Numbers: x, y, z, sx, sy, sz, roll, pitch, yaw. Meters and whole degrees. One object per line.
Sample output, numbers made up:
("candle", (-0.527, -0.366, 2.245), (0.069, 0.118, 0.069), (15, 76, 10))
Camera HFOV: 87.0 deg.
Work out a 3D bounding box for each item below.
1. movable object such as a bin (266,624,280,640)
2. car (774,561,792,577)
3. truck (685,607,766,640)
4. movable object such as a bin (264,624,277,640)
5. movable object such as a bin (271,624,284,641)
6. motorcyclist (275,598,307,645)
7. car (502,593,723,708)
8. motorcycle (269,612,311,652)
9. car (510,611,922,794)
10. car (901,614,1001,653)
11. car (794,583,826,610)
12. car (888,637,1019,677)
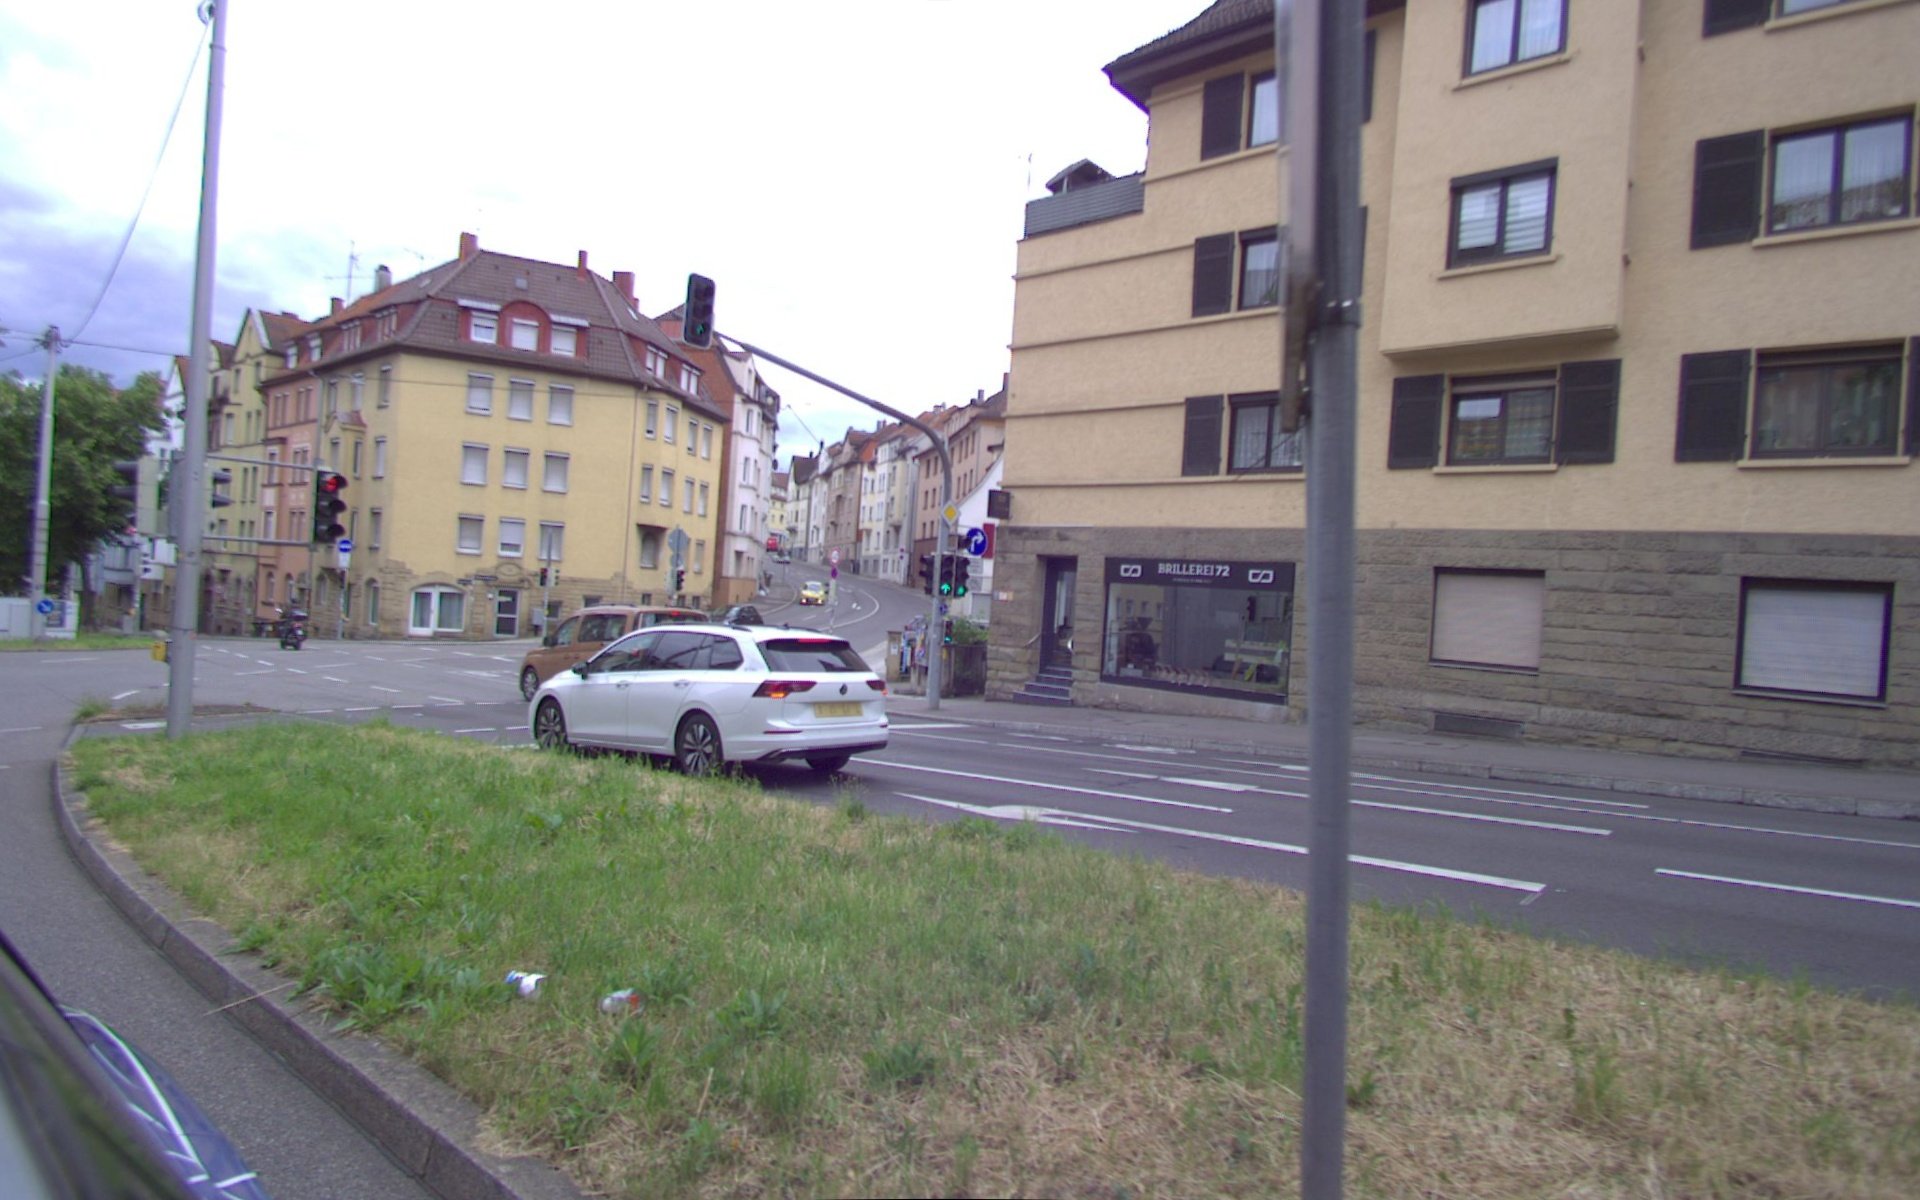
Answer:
("movable object such as a bin", (-36.656, 1.710, 53.992), (0.480, 0.871, 0.449), (5, -4, -44))
("car", (-23.445, -4.084, 133.842), (1.831, 1.734, 3.867), (2, -2, -16))
("truck", (-10.723, 1.068, 46.532), (1.838, 1.429, 3.975), (1, -1, 19))
("movable object such as a bin", (-37.093, 1.712, 54.421), (0.480, 0.871, 0.449), (5, -4, -44))
("movable object such as a bin", (-36.141, 1.711, 53.598), (0.480, 0.871, 0.449), (5, -4, -44))
("motorcyclist", (-21.216, 0.679, 32.101), (0.662, 1.486, 0.665), (1, -2, 42))
("car", (-6.349, 0.897, 18.268), (4.349, 1.830, 1.859), (-3, -4, 41))
("motorcycle", (-21.256, 1.012, 32.099), (2.205, 1.193, 0.539), (1, -2, 42))
("car", (-2.673, 0.894, 10.435), (4.582, 1.478, 1.728), (0, -3, 40))
("car", (-0.399, 1.427, 43.931), (4.238, 1.476, 1.683), (1, 3, -1))
("car", (-10.522, -0.205, 70.720), (1.832, 1.734, 3.865), (2, -2, -13))
("car", (-0.241, 1.851, 33.135), (3.932, 1.198, 1.841), (1, 0, -15))
